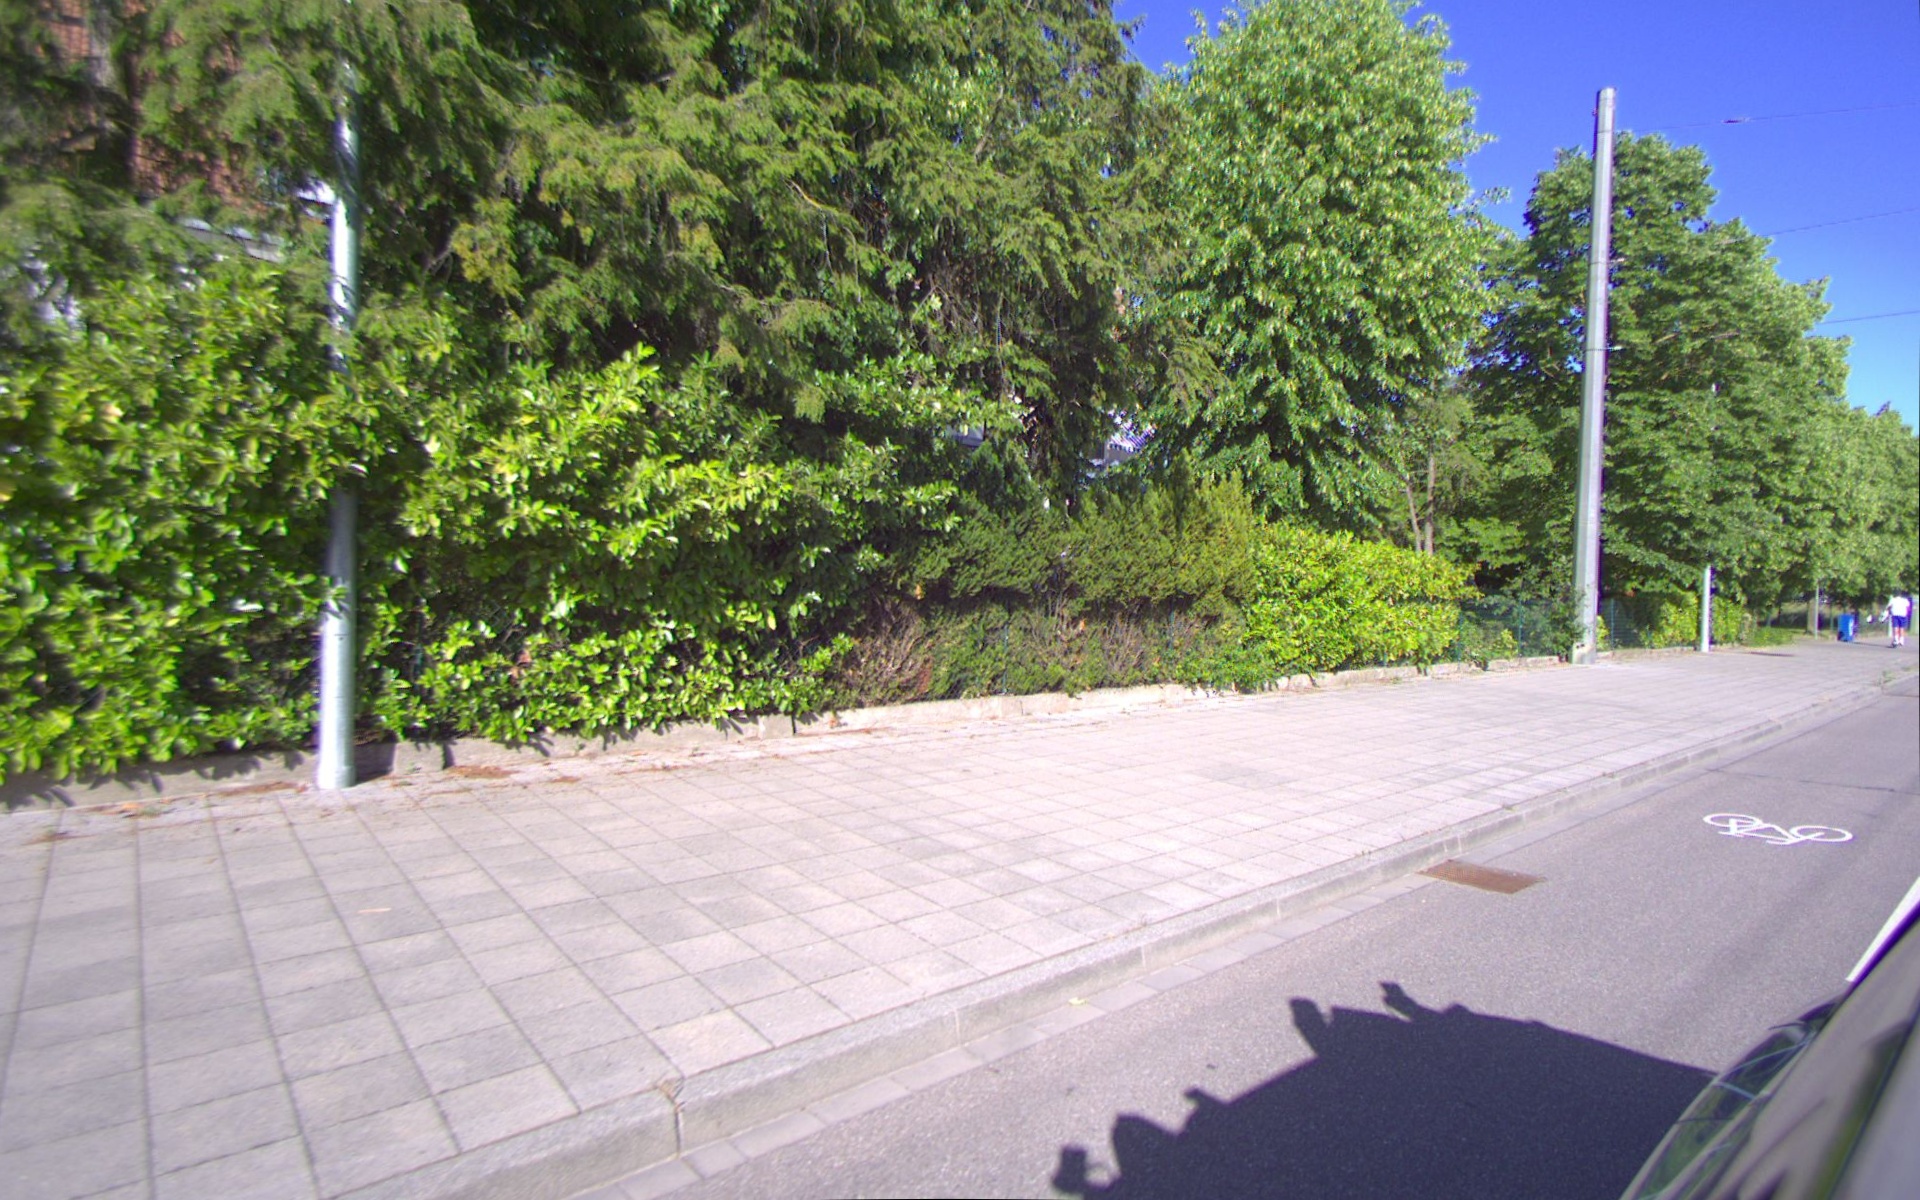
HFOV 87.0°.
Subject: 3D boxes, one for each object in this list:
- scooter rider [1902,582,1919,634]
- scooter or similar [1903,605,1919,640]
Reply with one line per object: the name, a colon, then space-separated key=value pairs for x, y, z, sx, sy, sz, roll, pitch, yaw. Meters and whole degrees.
scooter rider: x=32.874 y=0.277 z=34.858 sx=0.588 sy=1.789 sz=0.551 roll=1 pitch=0 yaw=-42
scooter or similar: x=32.744 y=0.759 z=34.756 sx=1.187 sy=1.151 sz=0.349 roll=1 pitch=2 yaw=-42
